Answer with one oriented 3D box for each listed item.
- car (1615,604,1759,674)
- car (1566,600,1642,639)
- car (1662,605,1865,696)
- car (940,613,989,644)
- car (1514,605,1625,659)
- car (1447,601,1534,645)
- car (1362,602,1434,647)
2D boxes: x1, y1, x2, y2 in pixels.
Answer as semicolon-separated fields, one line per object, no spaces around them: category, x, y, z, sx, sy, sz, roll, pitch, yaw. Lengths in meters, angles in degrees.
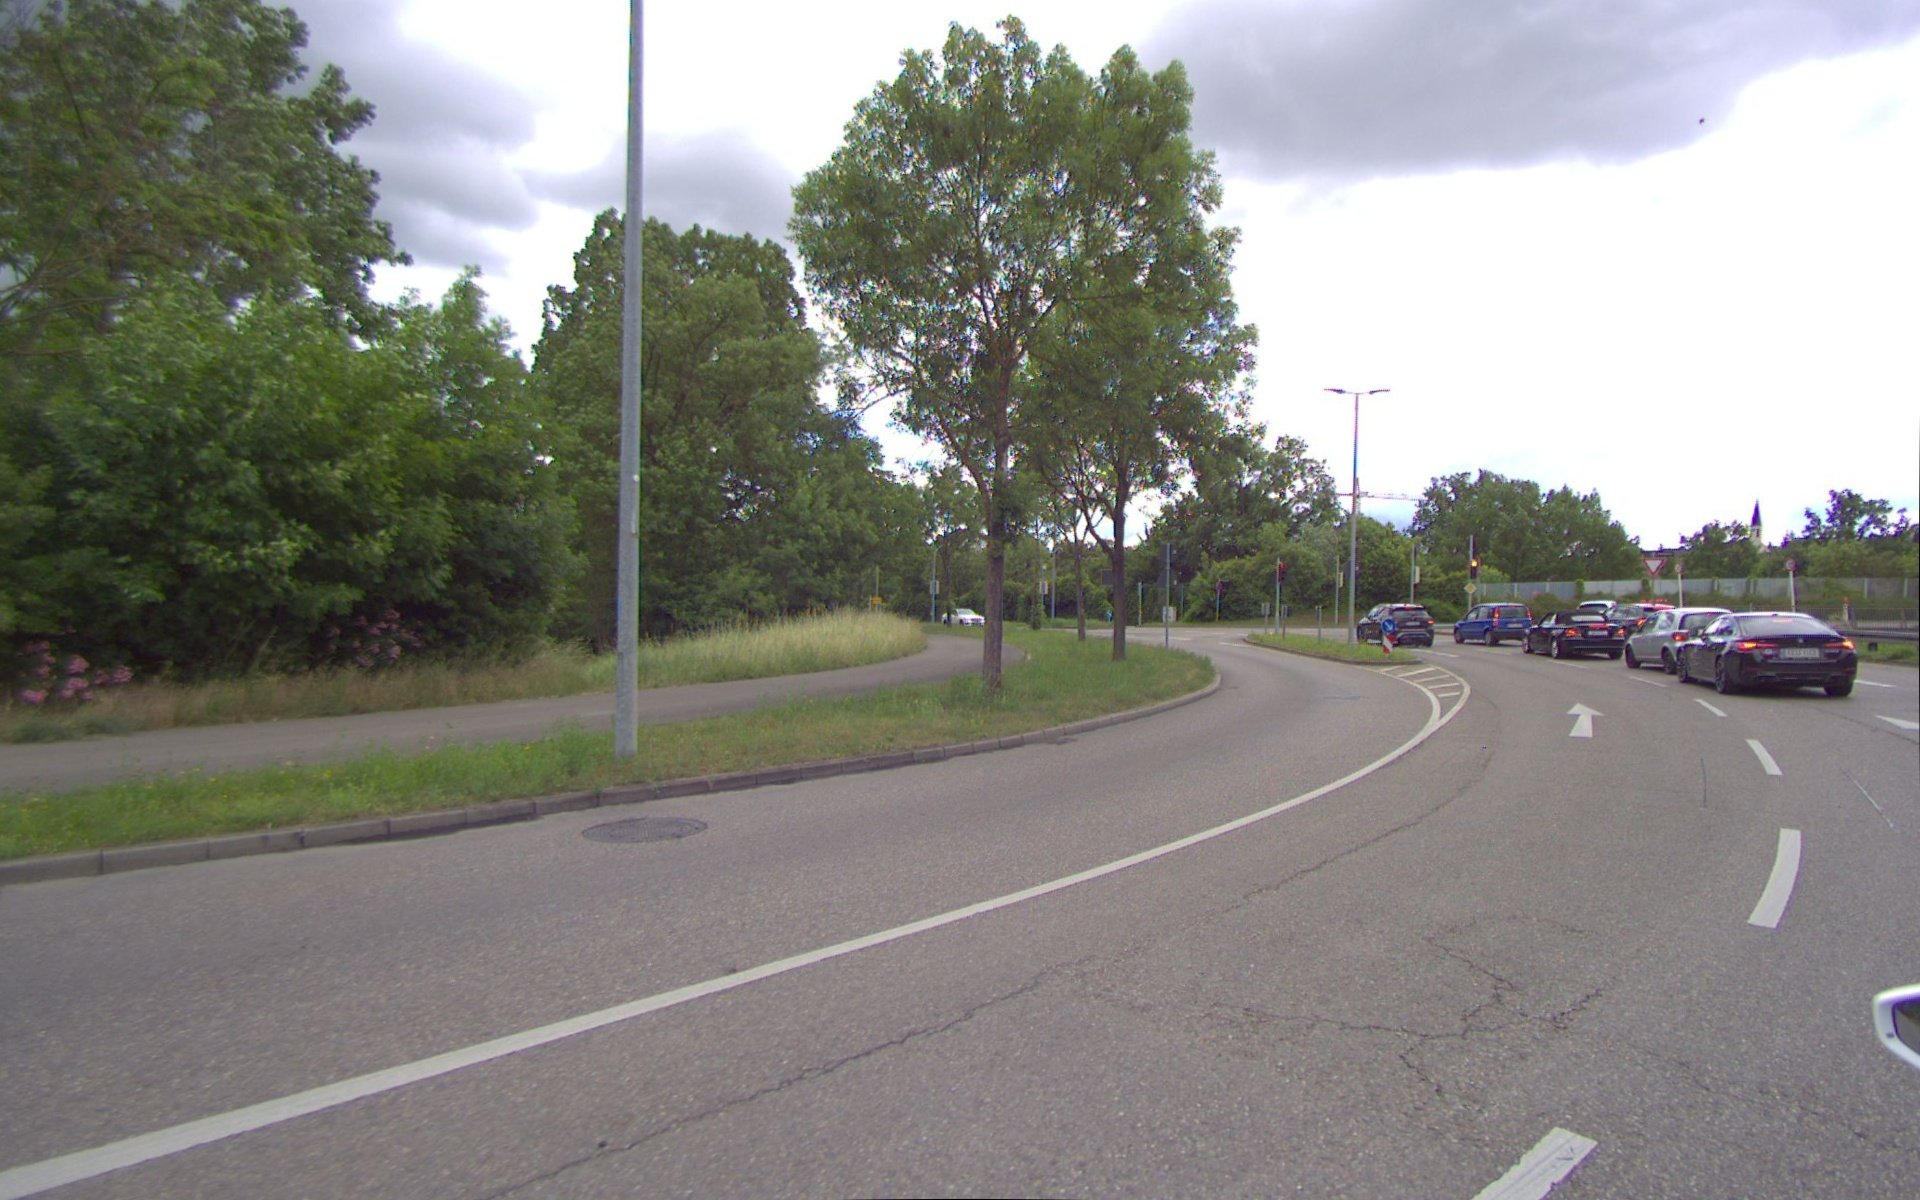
car;17.442;0.894;24.297;1.640;1.489;3.629;-3;-1;16
car;29.240;0.883;45.554;3.964;1.697;1.699;2;-1;-38
car;15.276;0.888;19.436;1.843;1.496;4.960;-2;-1;24
car;0.315;2.119;75.399;1.910;2.021;4.294;2;1;-26
car;18.319;0.909;30.376;1.537;1.386;4.085;-3;0;12
car;19.682;0.830;37.412;1.517;1.527;3.381;-1;0;1
car;16.476;0.887;37.923;1.628;1.527;3.772;-3;0;11
